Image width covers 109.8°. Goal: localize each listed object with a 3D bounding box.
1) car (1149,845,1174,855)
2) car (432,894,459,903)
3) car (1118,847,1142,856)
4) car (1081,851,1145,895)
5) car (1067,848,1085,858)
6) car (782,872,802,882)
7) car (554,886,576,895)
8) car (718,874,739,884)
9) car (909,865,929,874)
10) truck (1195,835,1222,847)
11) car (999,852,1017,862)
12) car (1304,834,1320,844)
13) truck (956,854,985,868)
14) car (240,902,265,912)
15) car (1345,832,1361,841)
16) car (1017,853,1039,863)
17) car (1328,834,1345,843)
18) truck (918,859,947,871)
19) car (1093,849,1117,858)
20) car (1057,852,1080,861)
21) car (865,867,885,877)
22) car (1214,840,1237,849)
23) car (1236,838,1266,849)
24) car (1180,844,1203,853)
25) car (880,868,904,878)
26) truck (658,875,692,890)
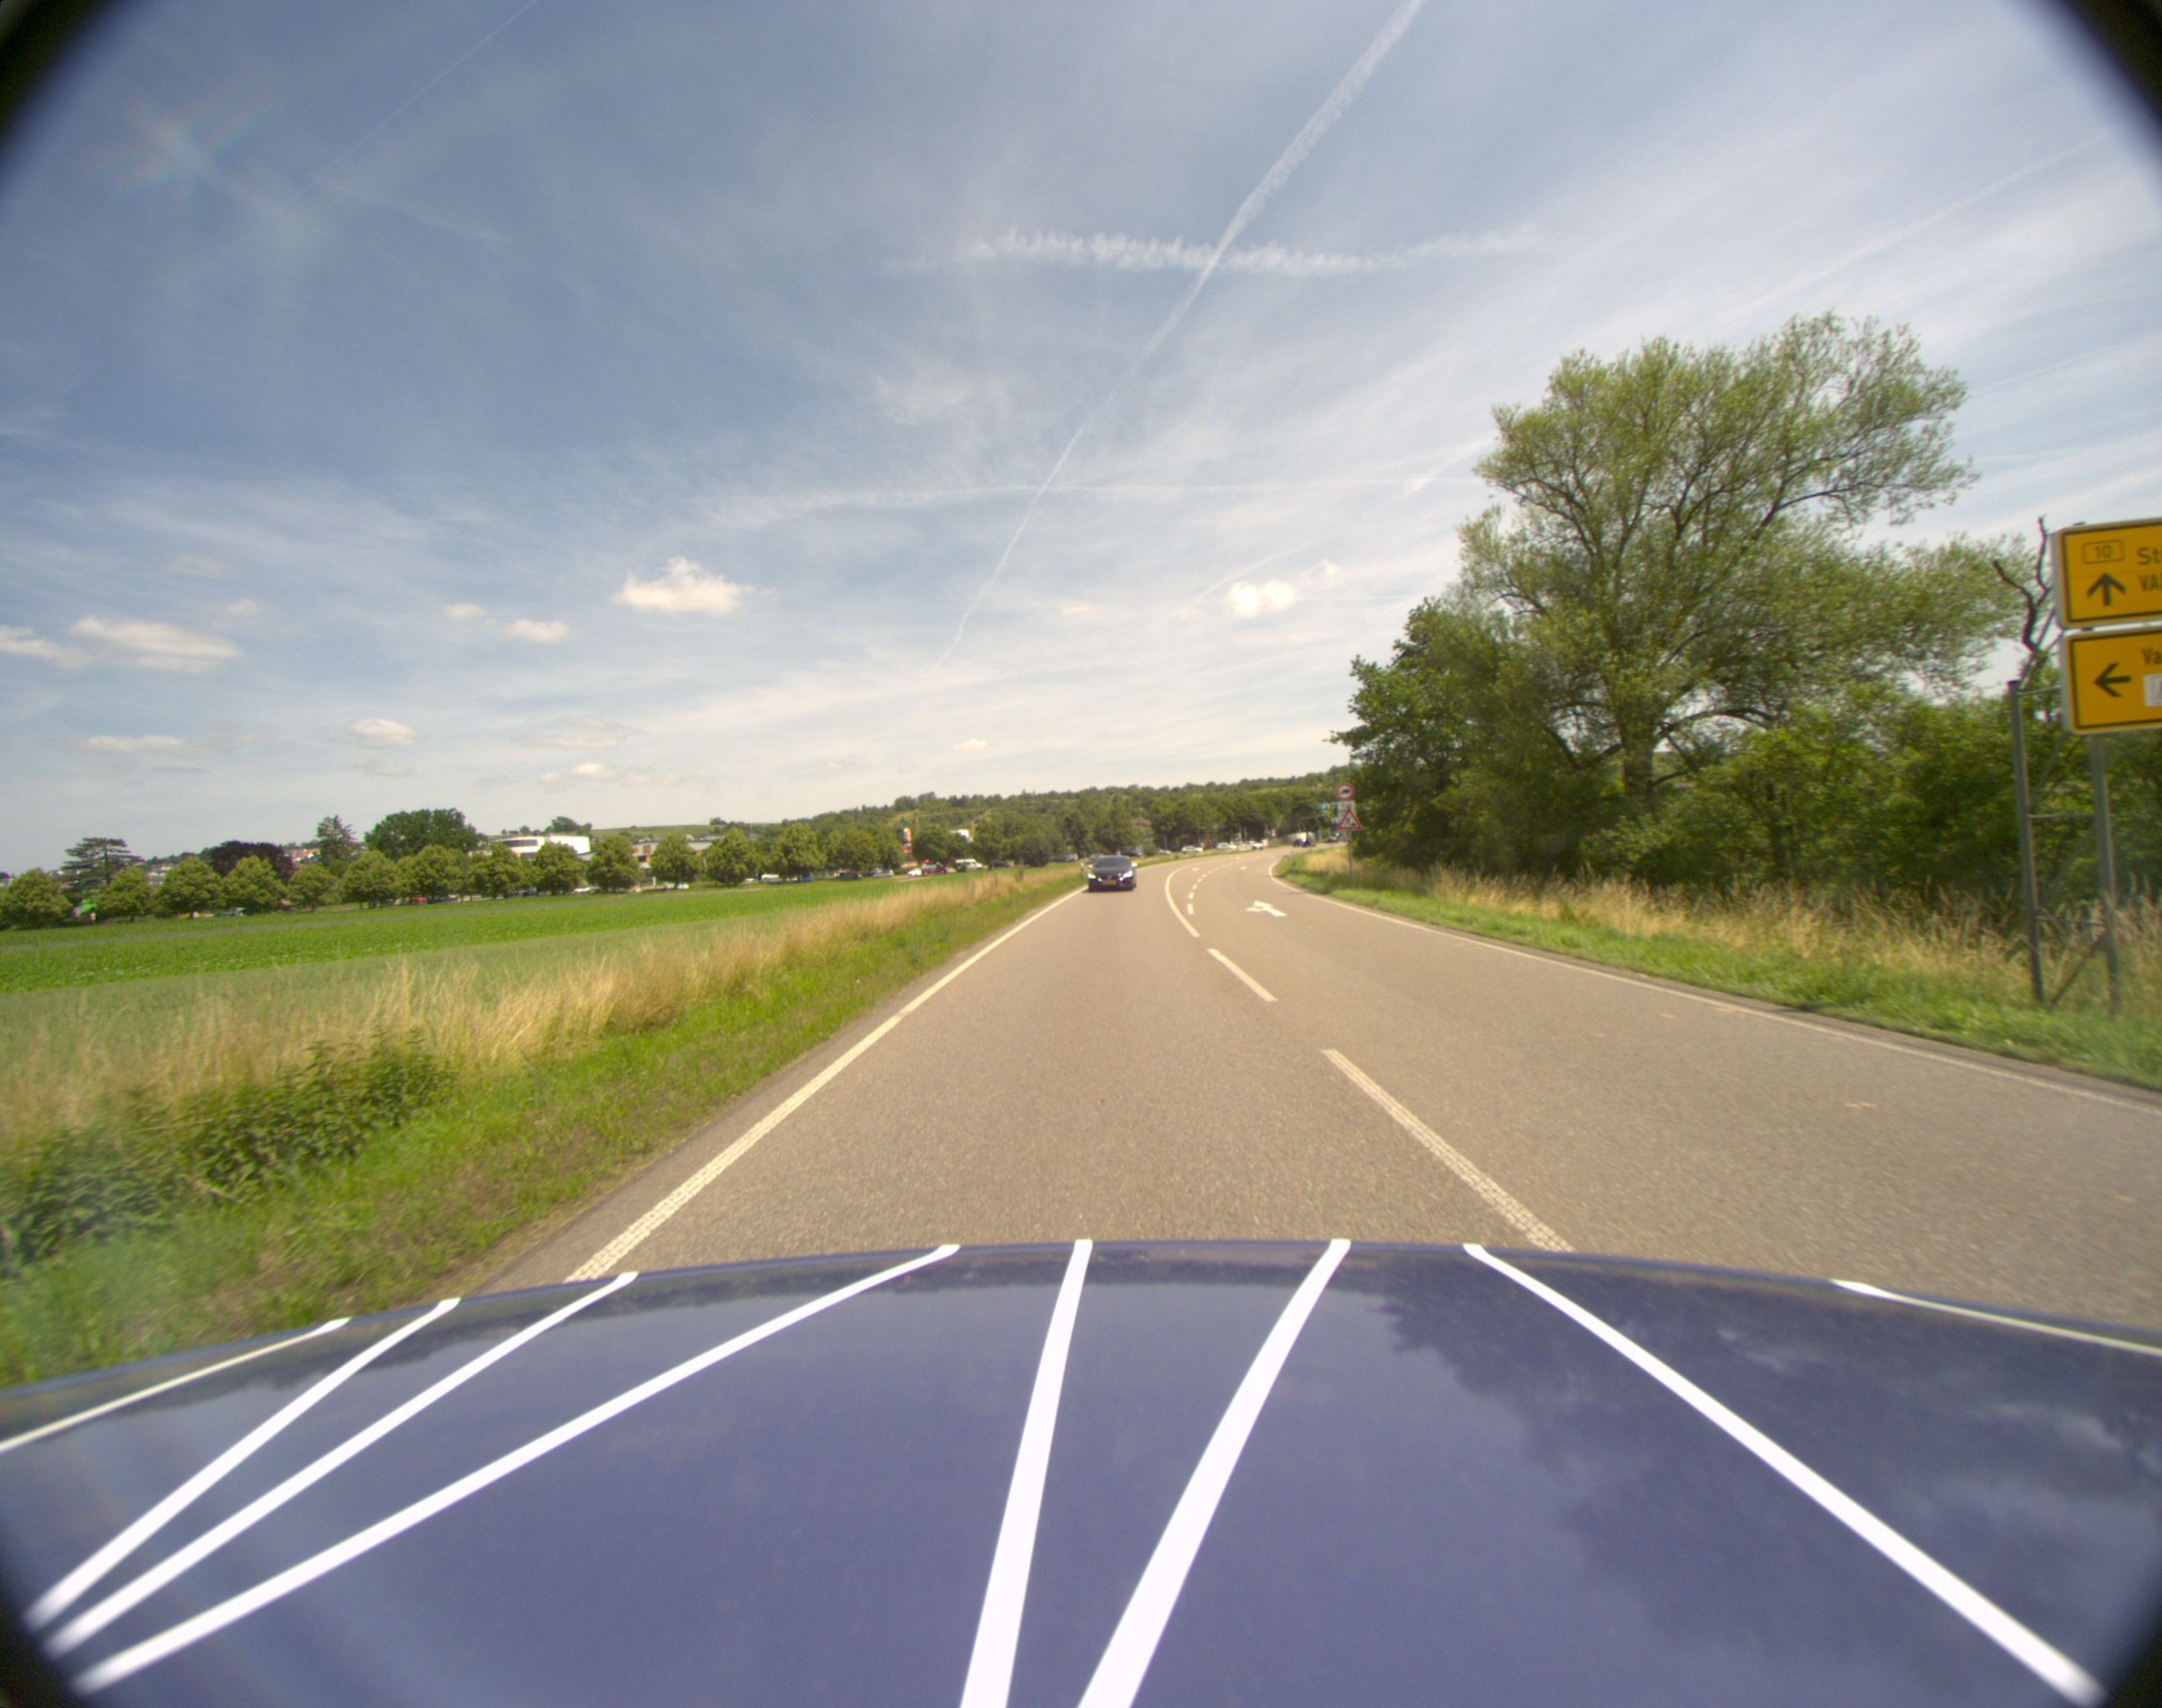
[{"bbox_3d":[16.223,-0.826,153.366,4.552,1.502,1.802,-4,2,20],"label":"car"},{"bbox_3d":[-155.002,10.871,185.314,4.807,1.582,1.871,-5,2,4],"label":"car"},{"bbox_3d":[9.966,-0.495,155.320,4.554,1.502,1.801,-4,4,15],"label":"car"},{"bbox_3d":[1.383,0.730,30.934,1.781,1.484,4.160,-2,1,13],"label":"car"},{"bbox_3d":[-1.074,-0.279,174.581,3.997,1.814,1.822,-5,2,-1],"label":"car"},{"bbox_3d":[-68.103,5.393,179.103,3.996,1.814,1.822,-5,2,4],"label":"car"},{"bbox_3d":[-124.101,8.702,182.645,3.996,1.620,1.743,-5,2,4],"label":"car"},{"bbox_3d":[-84.052,5.996,181.271,3.996,1.814,1.734,-5,2,4],"label":"car"},{"bbox_3d":[-35.664,3.379,167.434,1.873,1.550,4.506,-4,2,25],"label":"car"},{"bbox_3d":[31.497,-3.265,187.823,6.156,2.603,2.258,-5,1,-27],"label":"truck"},{"bbox_3d":[-16.727,0.745,174.153,4.000,1.814,1.820,-5,2,-11],"label":"car"},{"bbox_3d":[41.078,-2.691,135.036,1.772,1.649,4.006,-2,2,31],"label":"car"},{"bbox_3d":[-22.947,1.376,158.067,5.636,2.353,2.052,-5,2,-4],"label":"truck"},{"bbox_3d":[-185.748,11.995,170.403,3.994,1.790,1.877,-4,2,11],"label":"car"},{"bbox_3d":[59.460,-3.787,166.130,1.805,1.723,4.006,-3,3,42],"label":"car"},{"bbox_3d":[-11.015,0.813,157.686,4.287,1.688,1.999,-5,2,2],"label":"car"},{"bbox_3d":[53.676,-3.258,159.605,1.805,1.723,4.006,-3,3,42],"label":"car"},{"bbox_3d":[-30.710,2.292,157.218,5.472,1.965,1.800,-5,2,-3],"label":"truck"},{"bbox_3d":[4.982,-0.137,156.304,4.555,1.502,1.801,-4,2,11],"label":"car"},{"bbox_3d":[-2.587,0.497,156.301,4.558,1.266,1.800,-5,2,2],"label":"car"},{"bbox_3d":[-48.179,4.190,177.704,3.996,1.814,1.822,-5,2,4],"label":"car"},{"bbox_3d":[28.179,-1.831,148.331,3.964,1.411,1.831,-5,0,23],"label":"car"},{"bbox_3d":[30.825,-1.860,137.806,4.629,1.598,2.001,-4,3,37],"label":"car"},{"bbox_3d":[22.022,-1.153,151.257,4.098,1.411,1.802,-3,3,18],"label":"car"},{"bbox_3d":[-40.413,4.154,162.662,4.524,1.682,1.865,-4,2,-4],"label":"car"},{"bbox_3d":[-86.901,6.118,162.680,5.936,2.723,2.072,-4,5,6],"label":"truck"}]
